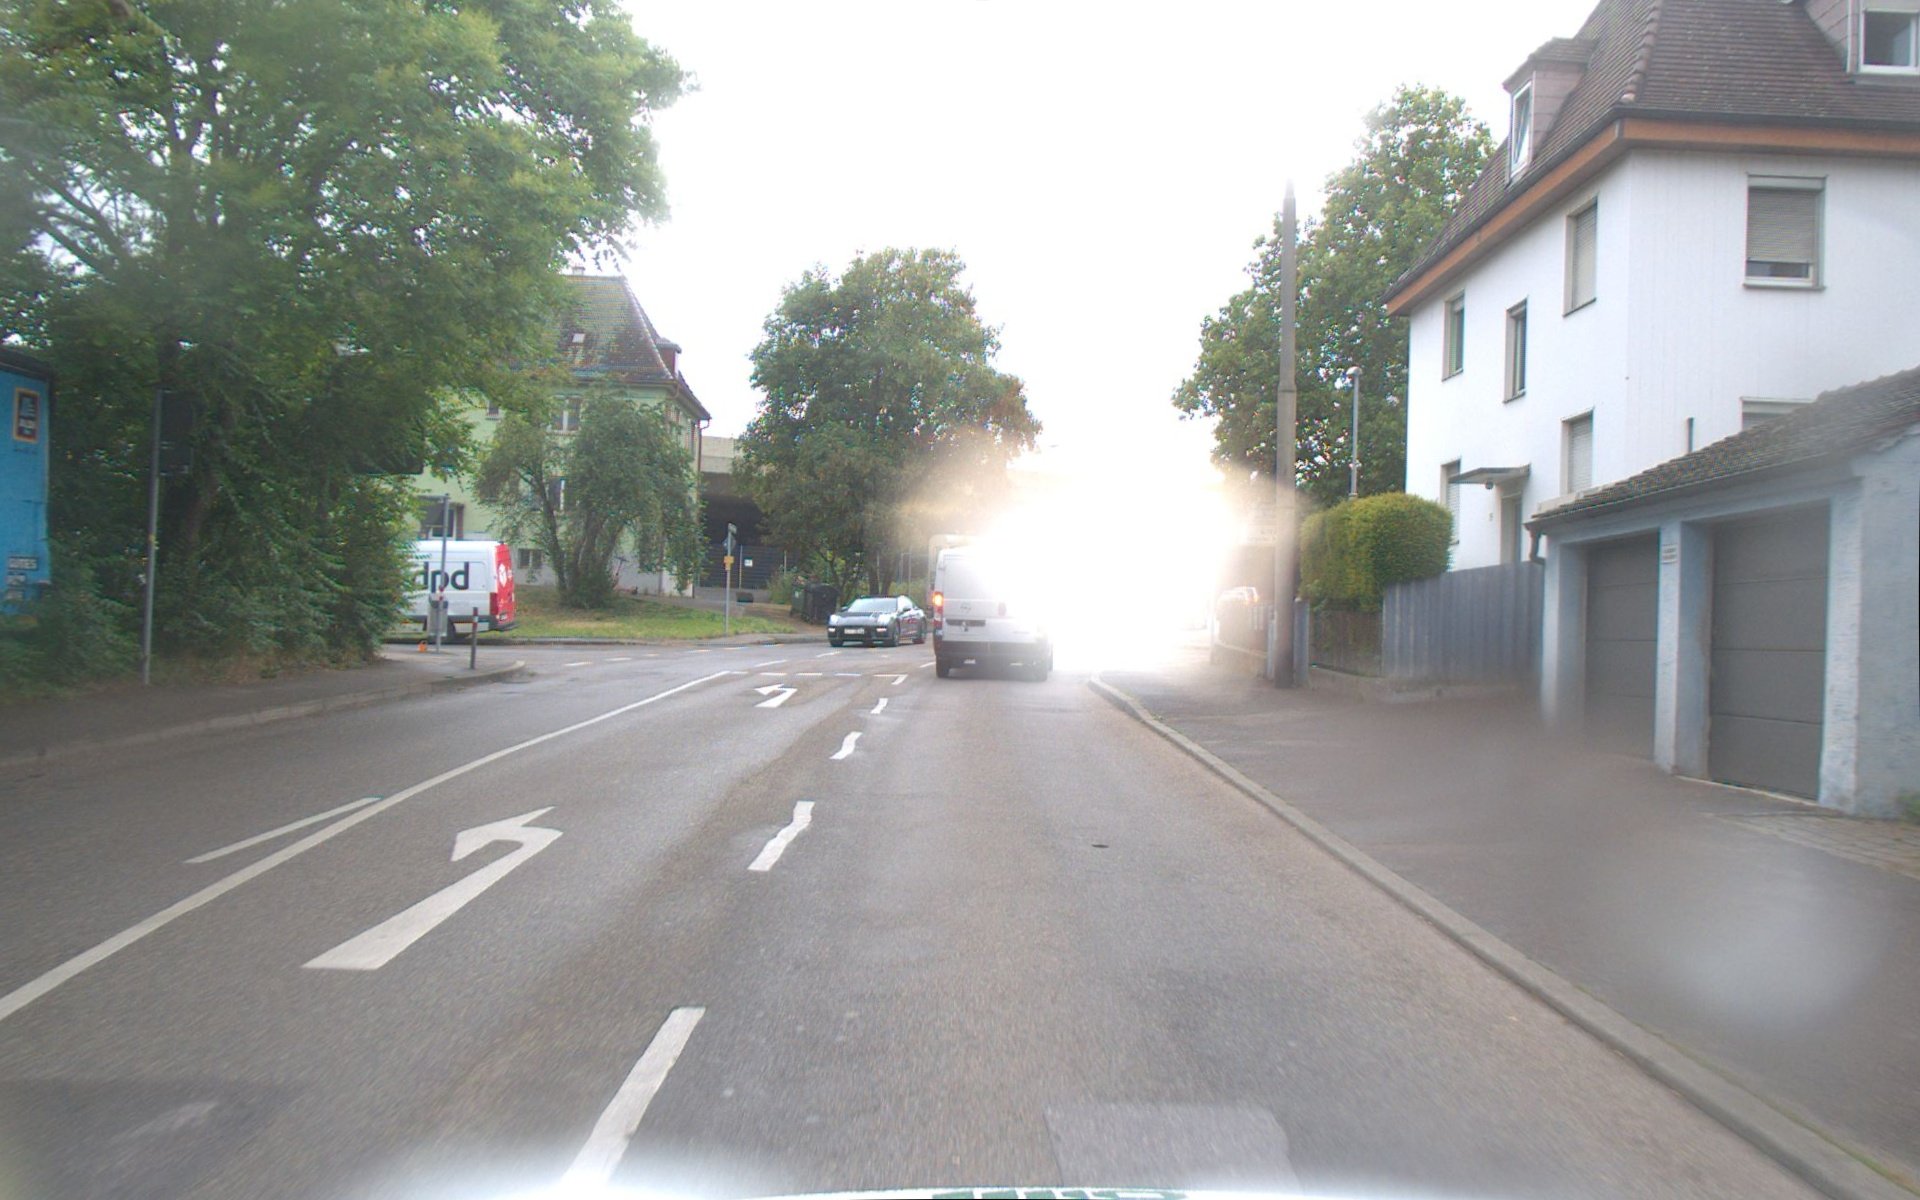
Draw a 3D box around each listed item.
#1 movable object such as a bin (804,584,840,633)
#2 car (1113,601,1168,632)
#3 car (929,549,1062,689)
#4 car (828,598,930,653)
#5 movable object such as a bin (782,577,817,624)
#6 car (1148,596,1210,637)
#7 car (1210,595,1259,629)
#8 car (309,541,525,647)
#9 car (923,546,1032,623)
[{"bbox_3d":[-4.904,0.296,58.802,0.921,1.590,1.131,7,1,4],"label":"movable object such as a bin"},{"bbox_3d":[9.246,0.859,84.489,1.951,1.482,4.832,0,-1,16],"label":"car"},{"bbox_3d":[0.757,0.314,30.722,2.101,2.323,5.066,2,0,5],"label":"car"},{"bbox_3d":[-2.273,0.744,47.720,1.951,1.482,4.833,1,-1,9],"label":"car"},{"bbox_3d":[-5.855,0.029,60.334,0.921,1.590,1.131,7,1,4],"label":"movable object such as a bin"},{"bbox_3d":[8.842,0.643,66.556,1.729,1.537,3.756,2,0,18],"label":"car"},{"bbox_3d":[13.390,0.582,80.601,1.729,1.537,3.756,2,0,18],"label":"car"},{"bbox_3d":[-14.244,-0.169,43.620,4.944,2.674,2.153,1,0,-2],"label":"car"},{"bbox_3d":[0.839,-0.616,70.714,2.481,3.071,7.213,2,0,18],"label":"car"}]
